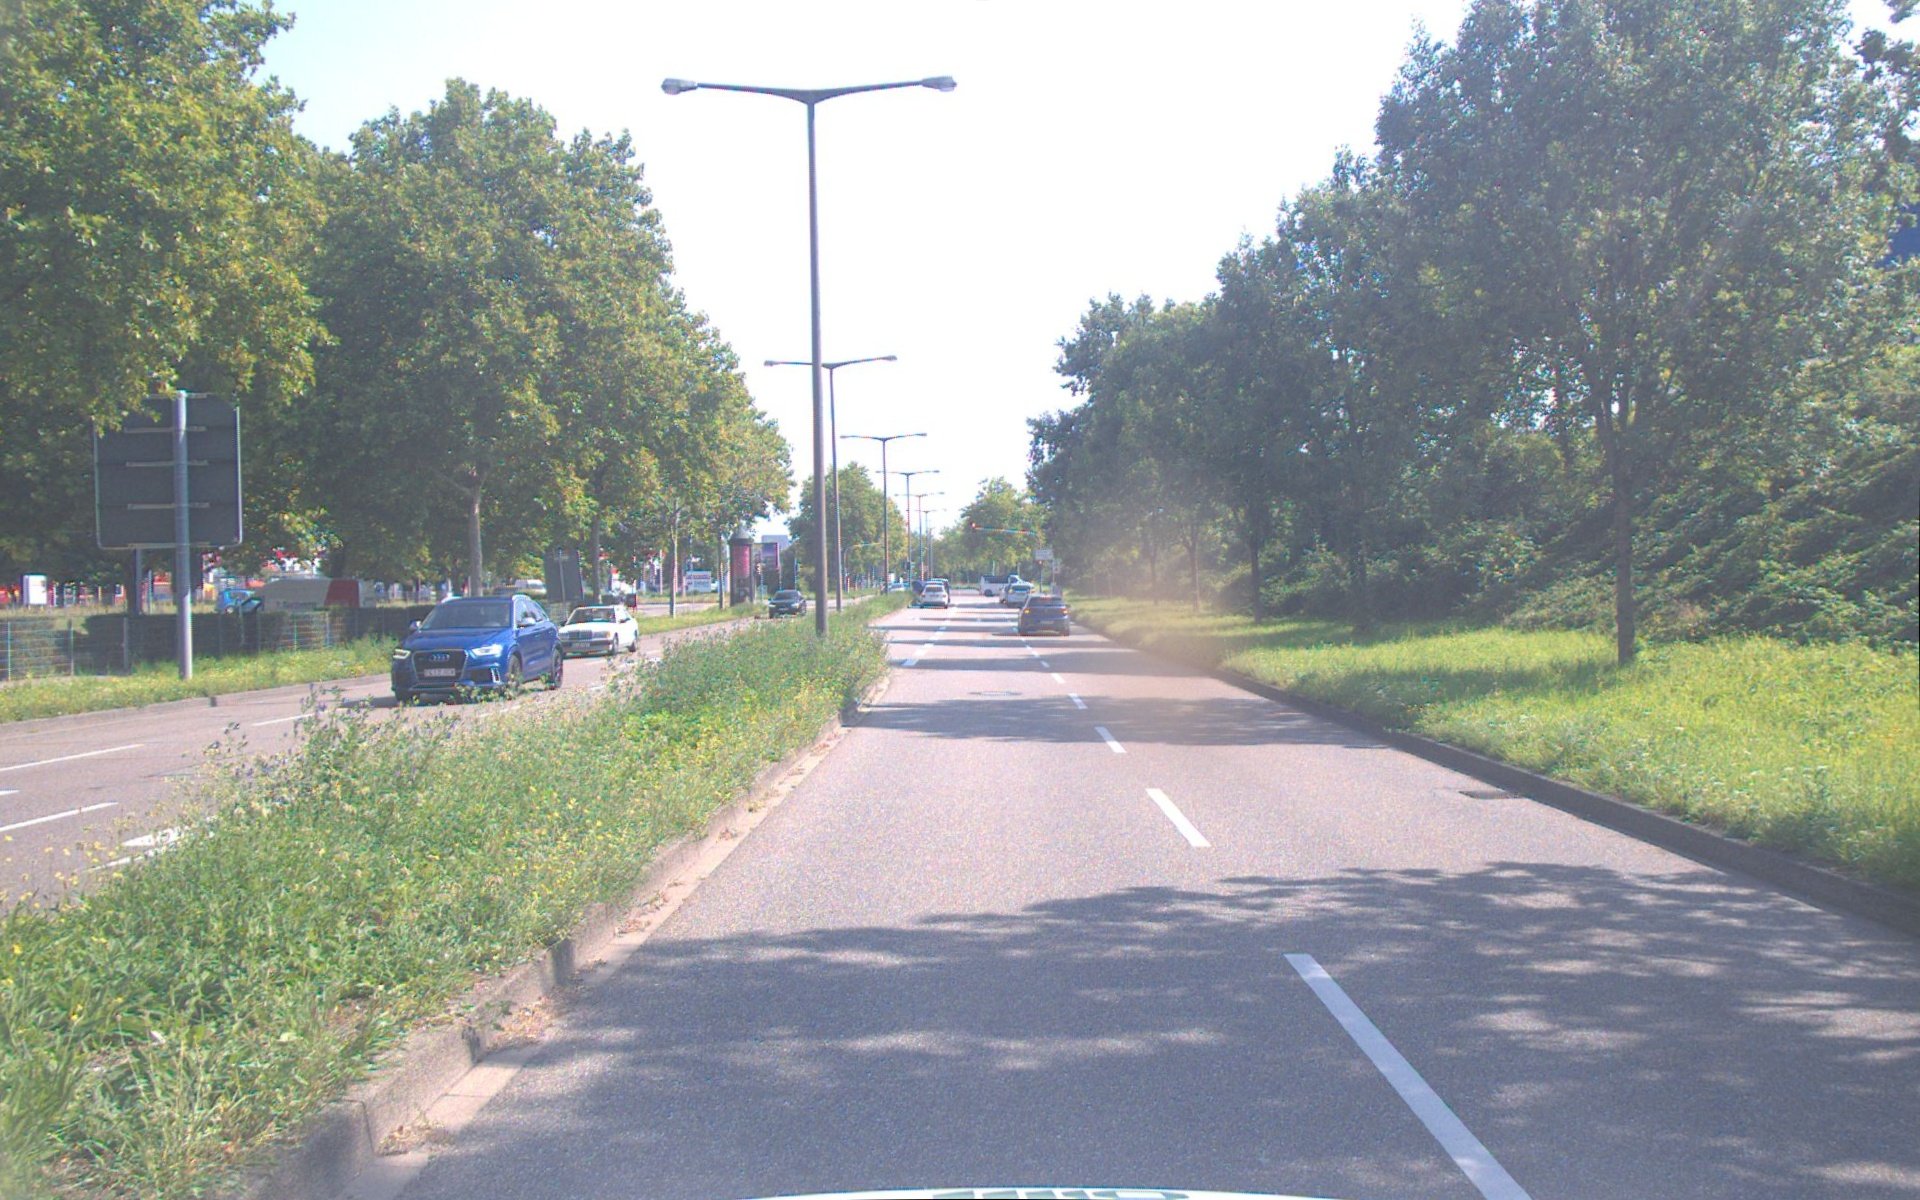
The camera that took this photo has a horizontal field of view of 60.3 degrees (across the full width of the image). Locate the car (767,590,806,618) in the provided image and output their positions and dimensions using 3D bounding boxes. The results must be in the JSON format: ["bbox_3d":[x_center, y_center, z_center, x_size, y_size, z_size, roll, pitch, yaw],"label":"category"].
[{"bbox_3d":[-9.519,0.202,91.131,1.759,1.441,4.408,-3,0,-2],"label":"car"}]

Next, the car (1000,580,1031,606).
[{"bbox_3d":[3.737,-0.458,112.640,1.953,1.683,4.000,-1,0,0],"label":"car"}]

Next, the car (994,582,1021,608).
[{"bbox_3d":[3.600,-0.405,126.254,1.953,1.682,4.002,-1,4,0],"label":"car"}]

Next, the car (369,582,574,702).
[{"bbox_3d":[-7.585,0.595,26.147,1.953,1.612,4.345,-3,0,-1],"label":"car"}]

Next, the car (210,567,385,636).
[{"bbox_3d":[-24.272,0.037,60.751,5.470,2.377,2.279,1,3,-1],"label":"car"}]

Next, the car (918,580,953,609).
[{"bbox_3d":[-1.537,-0.343,104.597,1.952,1.731,4.001,-1,0,2],"label":"car"}]

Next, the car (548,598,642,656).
[{"bbox_3d":[-10.137,0.718,46.227,1.759,1.441,4.408,-3,0,-2],"label":"car"}]

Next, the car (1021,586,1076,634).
[{"bbox_3d":[3.107,0.335,58.617,1.744,1.452,4.002,1,3,0],"label":"car"}]
